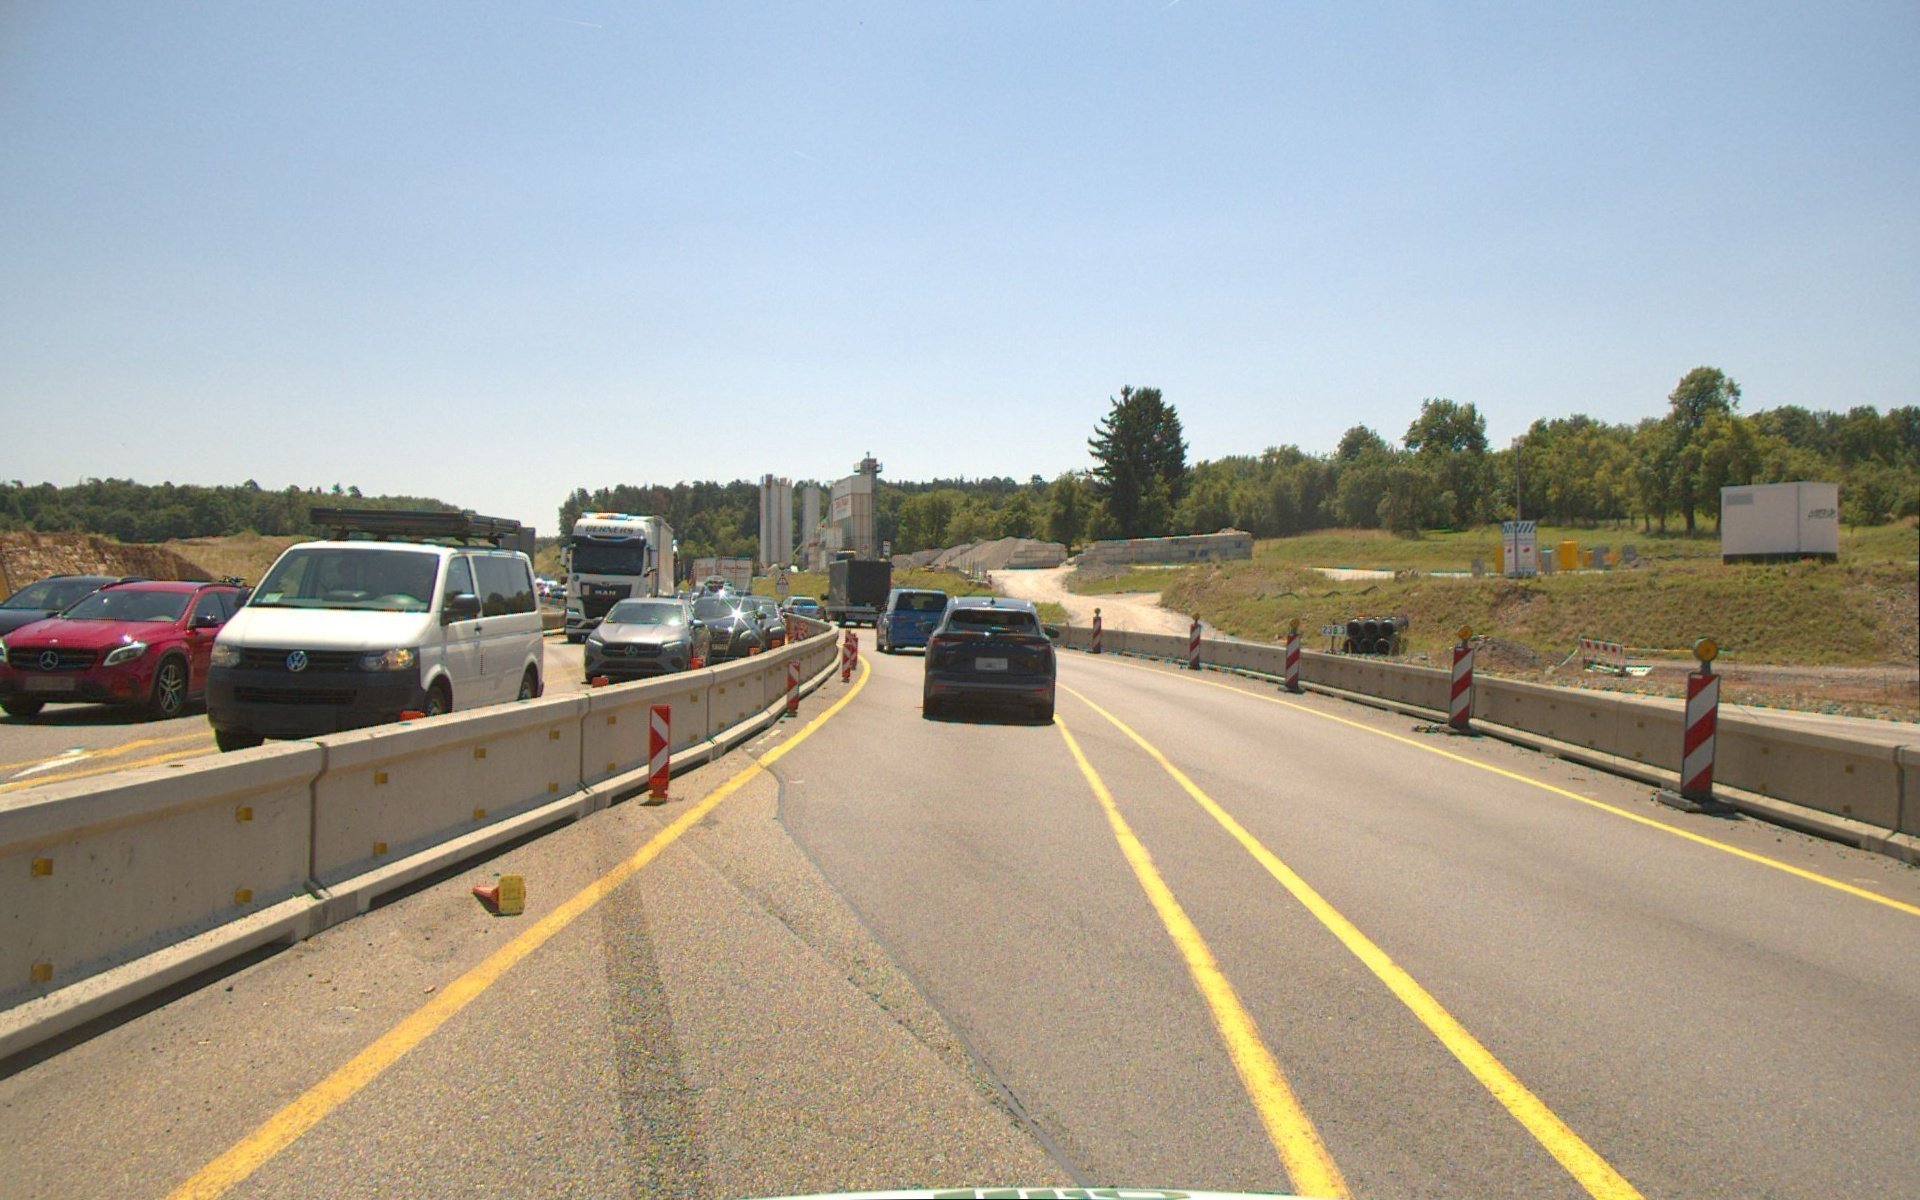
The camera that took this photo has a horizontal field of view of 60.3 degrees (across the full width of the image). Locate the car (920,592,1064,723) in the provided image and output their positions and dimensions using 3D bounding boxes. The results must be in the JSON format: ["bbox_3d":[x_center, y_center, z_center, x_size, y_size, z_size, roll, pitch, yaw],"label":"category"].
[{"bbox_3d":[0.368,0.733,23.490,1.805,1.609,3.999,3,0,-2],"label":"car"}]

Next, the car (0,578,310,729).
[{"bbox_3d":[-9.501,0.527,19.468,1.953,1.527,4.653,1,1,-2],"label":"car"}]

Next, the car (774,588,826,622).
[{"bbox_3d":[-7.936,0.207,81.806,2.009,1.553,5.051,-1,1,-12],"label":"car"}]

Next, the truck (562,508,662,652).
[{"bbox_3d":[-11.069,-0.627,53.115,2.719,4.334,6.187,0,0,-8],"label":"truck"}]

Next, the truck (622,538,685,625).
[{"bbox_3d":[-14.888,-0.906,80.157,2.654,4.038,6.177,0,0,-14],"label":"truck"}]

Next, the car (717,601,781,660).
[{"bbox_3d":[-5.777,0.806,45.596,1.624,1.478,4.243,1,0,-6],"label":"car"}]

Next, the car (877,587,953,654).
[{"bbox_3d":[-1.398,0.584,49.631,1.955,1.876,3.995,1,1,-6],"label":"car"}]

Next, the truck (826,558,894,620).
[{"bbox_3d":[-5.148,-0.552,84.281,2.626,2.997,5.603,-1,1,-12],"label":"truck"}]

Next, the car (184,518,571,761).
[{"bbox_3d":[-5.361,0.301,16.068,1.834,1.905,5.059,3,0,1],"label":"car"}]

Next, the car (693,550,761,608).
[{"bbox_3d":[-18.145,-1.664,128.266,3.384,4.172,9.149,3,0,-18],"label":"car"}]

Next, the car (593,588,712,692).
[{"bbox_3d":[-5.356,0.642,29.206,1.479,1.632,3.951,3,0,-3],"label":"car"}]

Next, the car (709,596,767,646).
[{"bbox_3d":[-7.058,0.630,52.303,1.647,1.469,4.543,1,0,-10],"label":"car"}]

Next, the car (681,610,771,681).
[{"bbox_3d":[-5.250,0.997,37.520,1.692,1.432,4.126,1,0,-4],"label":"car"}]
